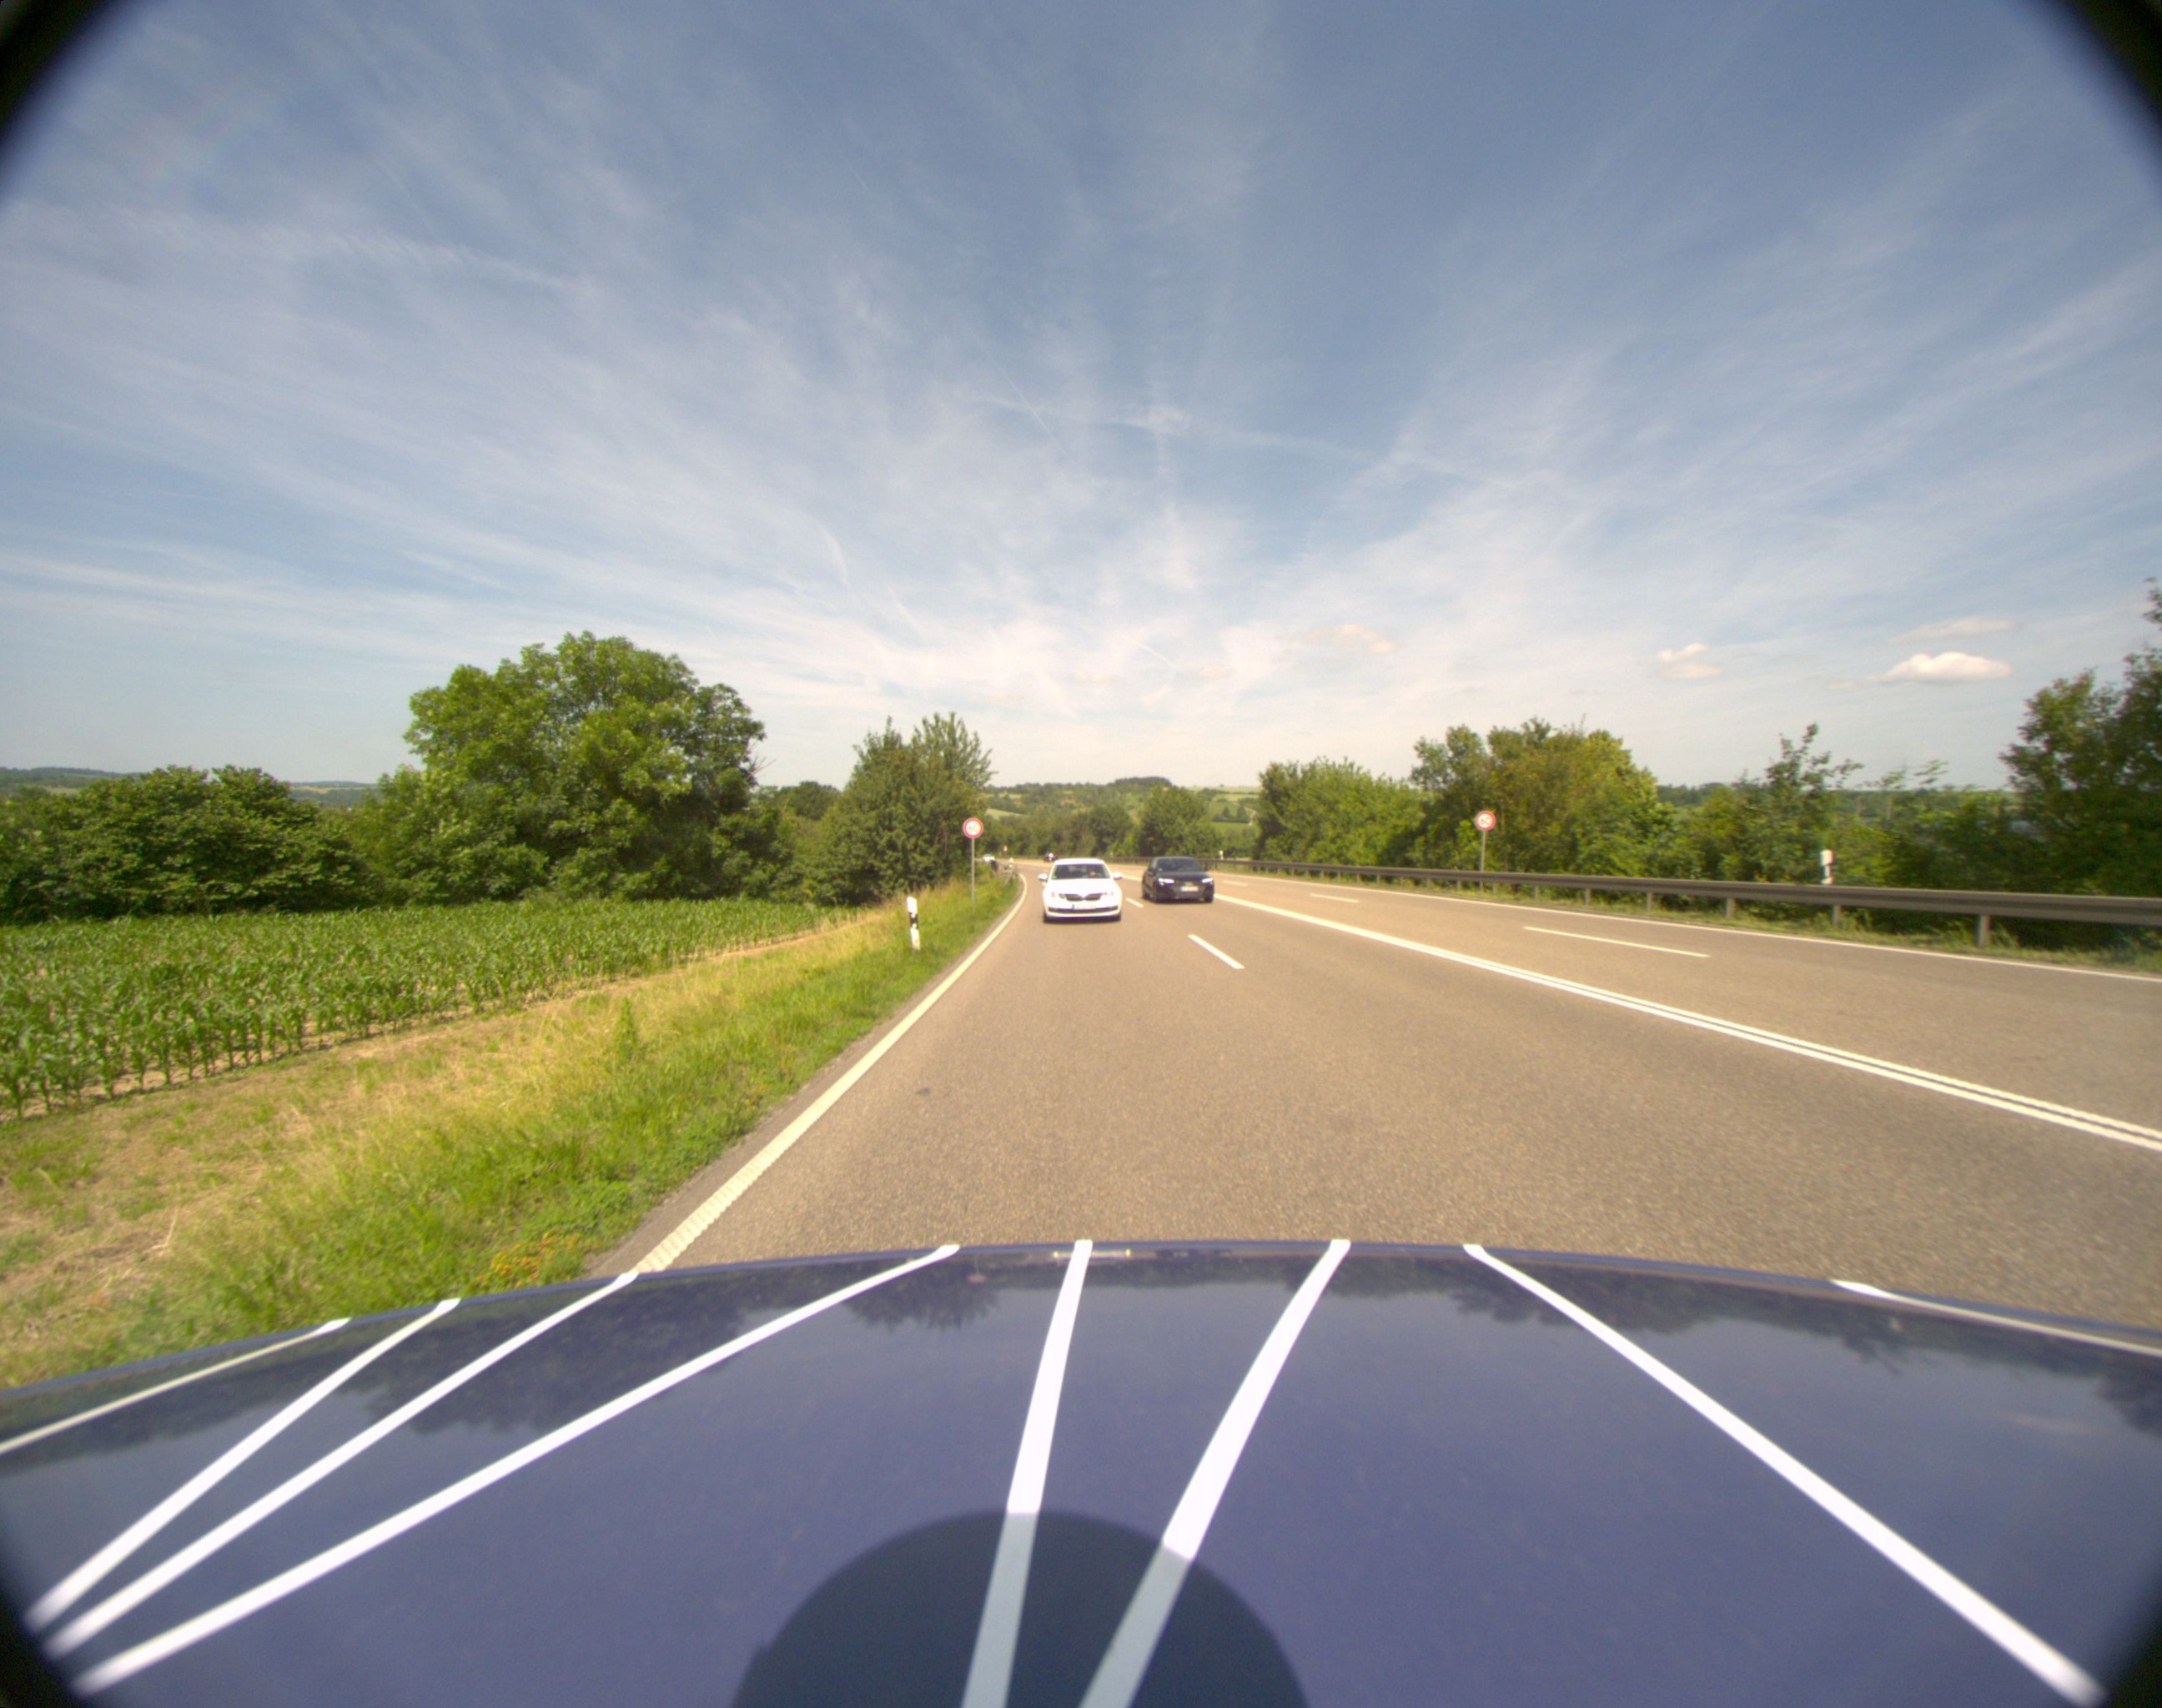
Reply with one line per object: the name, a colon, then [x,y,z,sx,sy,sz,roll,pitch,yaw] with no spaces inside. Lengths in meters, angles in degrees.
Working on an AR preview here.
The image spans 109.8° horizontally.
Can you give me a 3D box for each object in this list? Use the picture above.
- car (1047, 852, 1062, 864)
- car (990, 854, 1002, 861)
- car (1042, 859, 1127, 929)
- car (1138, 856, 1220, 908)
car: [-4.151,0.566,118.078,1.795,1.797,3.996,-2,1,-10]
car: [-15.435,0.635,138.122,1.709,1.368,4.598,-1,0,-13]
car: [-0.006,0.879,18.974,1.826,1.463,4.787,-1,0,-2]
car: [3.028,0.823,24.472,1.710,1.464,4.809,-1,0,-4]
